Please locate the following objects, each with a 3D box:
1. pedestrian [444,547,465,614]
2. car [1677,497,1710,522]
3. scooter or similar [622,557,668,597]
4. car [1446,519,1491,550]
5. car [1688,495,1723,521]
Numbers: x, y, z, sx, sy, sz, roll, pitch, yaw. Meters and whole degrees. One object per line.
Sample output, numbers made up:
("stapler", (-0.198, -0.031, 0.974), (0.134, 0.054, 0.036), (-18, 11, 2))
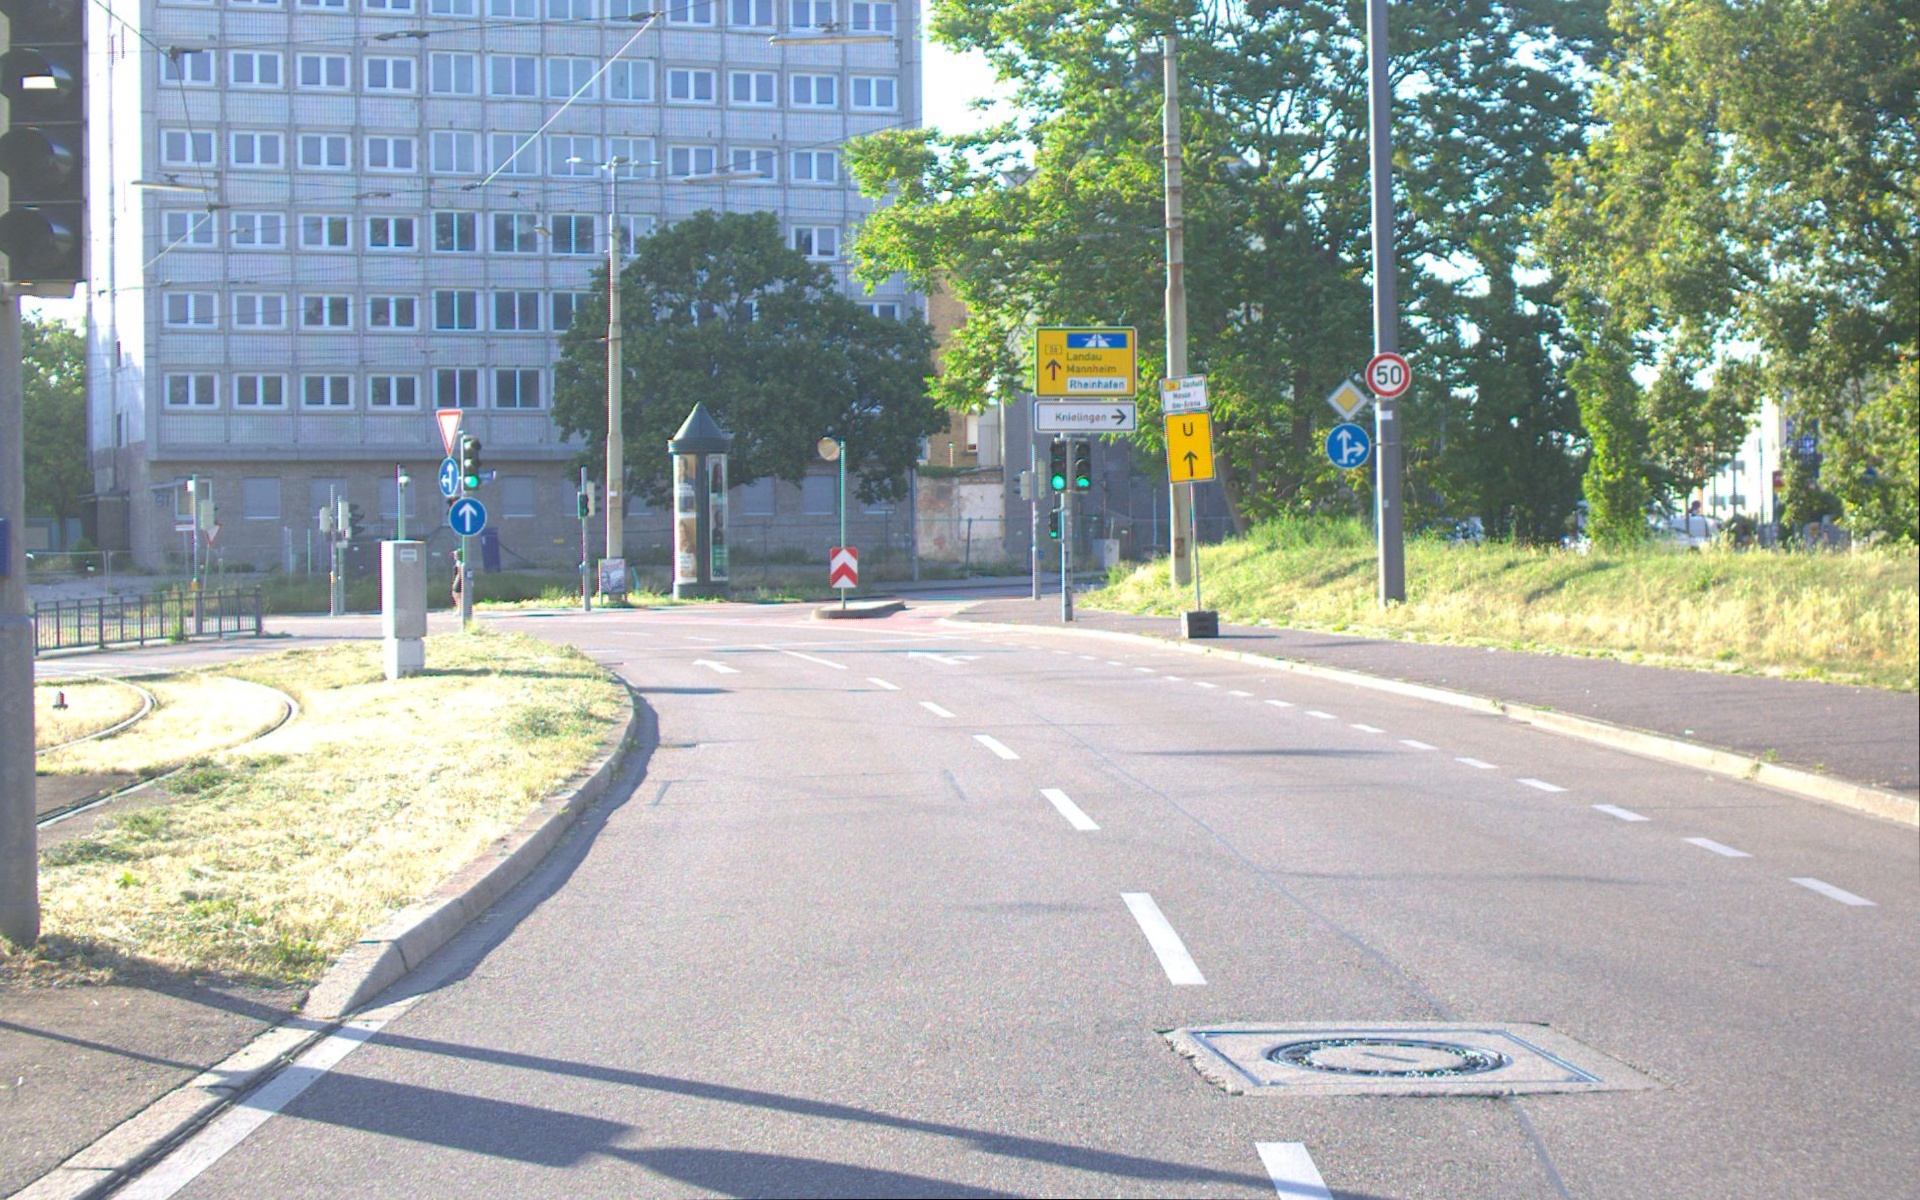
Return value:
("pedestrian", (-12.235, -0.477, 83.208), (0.436, 1.607, 0.630), (-2, 1, -10))
("car", (47.443, -5.879, 222.326), (1.860, 1.538, 3.997), (-1, 1, 15))
("scooter or similar", (-9.298, -0.678, 101.435), (1.297, 1.166, 0.327), (-2, 1, -19))
("car", (26.021, -3.372, 176.016), (1.874, 1.453, 3.785), (-1, 2, 14))
("car", (45.144, -5.568, 208.106), (1.860, 1.538, 3.876), (-1, 1, 15))
